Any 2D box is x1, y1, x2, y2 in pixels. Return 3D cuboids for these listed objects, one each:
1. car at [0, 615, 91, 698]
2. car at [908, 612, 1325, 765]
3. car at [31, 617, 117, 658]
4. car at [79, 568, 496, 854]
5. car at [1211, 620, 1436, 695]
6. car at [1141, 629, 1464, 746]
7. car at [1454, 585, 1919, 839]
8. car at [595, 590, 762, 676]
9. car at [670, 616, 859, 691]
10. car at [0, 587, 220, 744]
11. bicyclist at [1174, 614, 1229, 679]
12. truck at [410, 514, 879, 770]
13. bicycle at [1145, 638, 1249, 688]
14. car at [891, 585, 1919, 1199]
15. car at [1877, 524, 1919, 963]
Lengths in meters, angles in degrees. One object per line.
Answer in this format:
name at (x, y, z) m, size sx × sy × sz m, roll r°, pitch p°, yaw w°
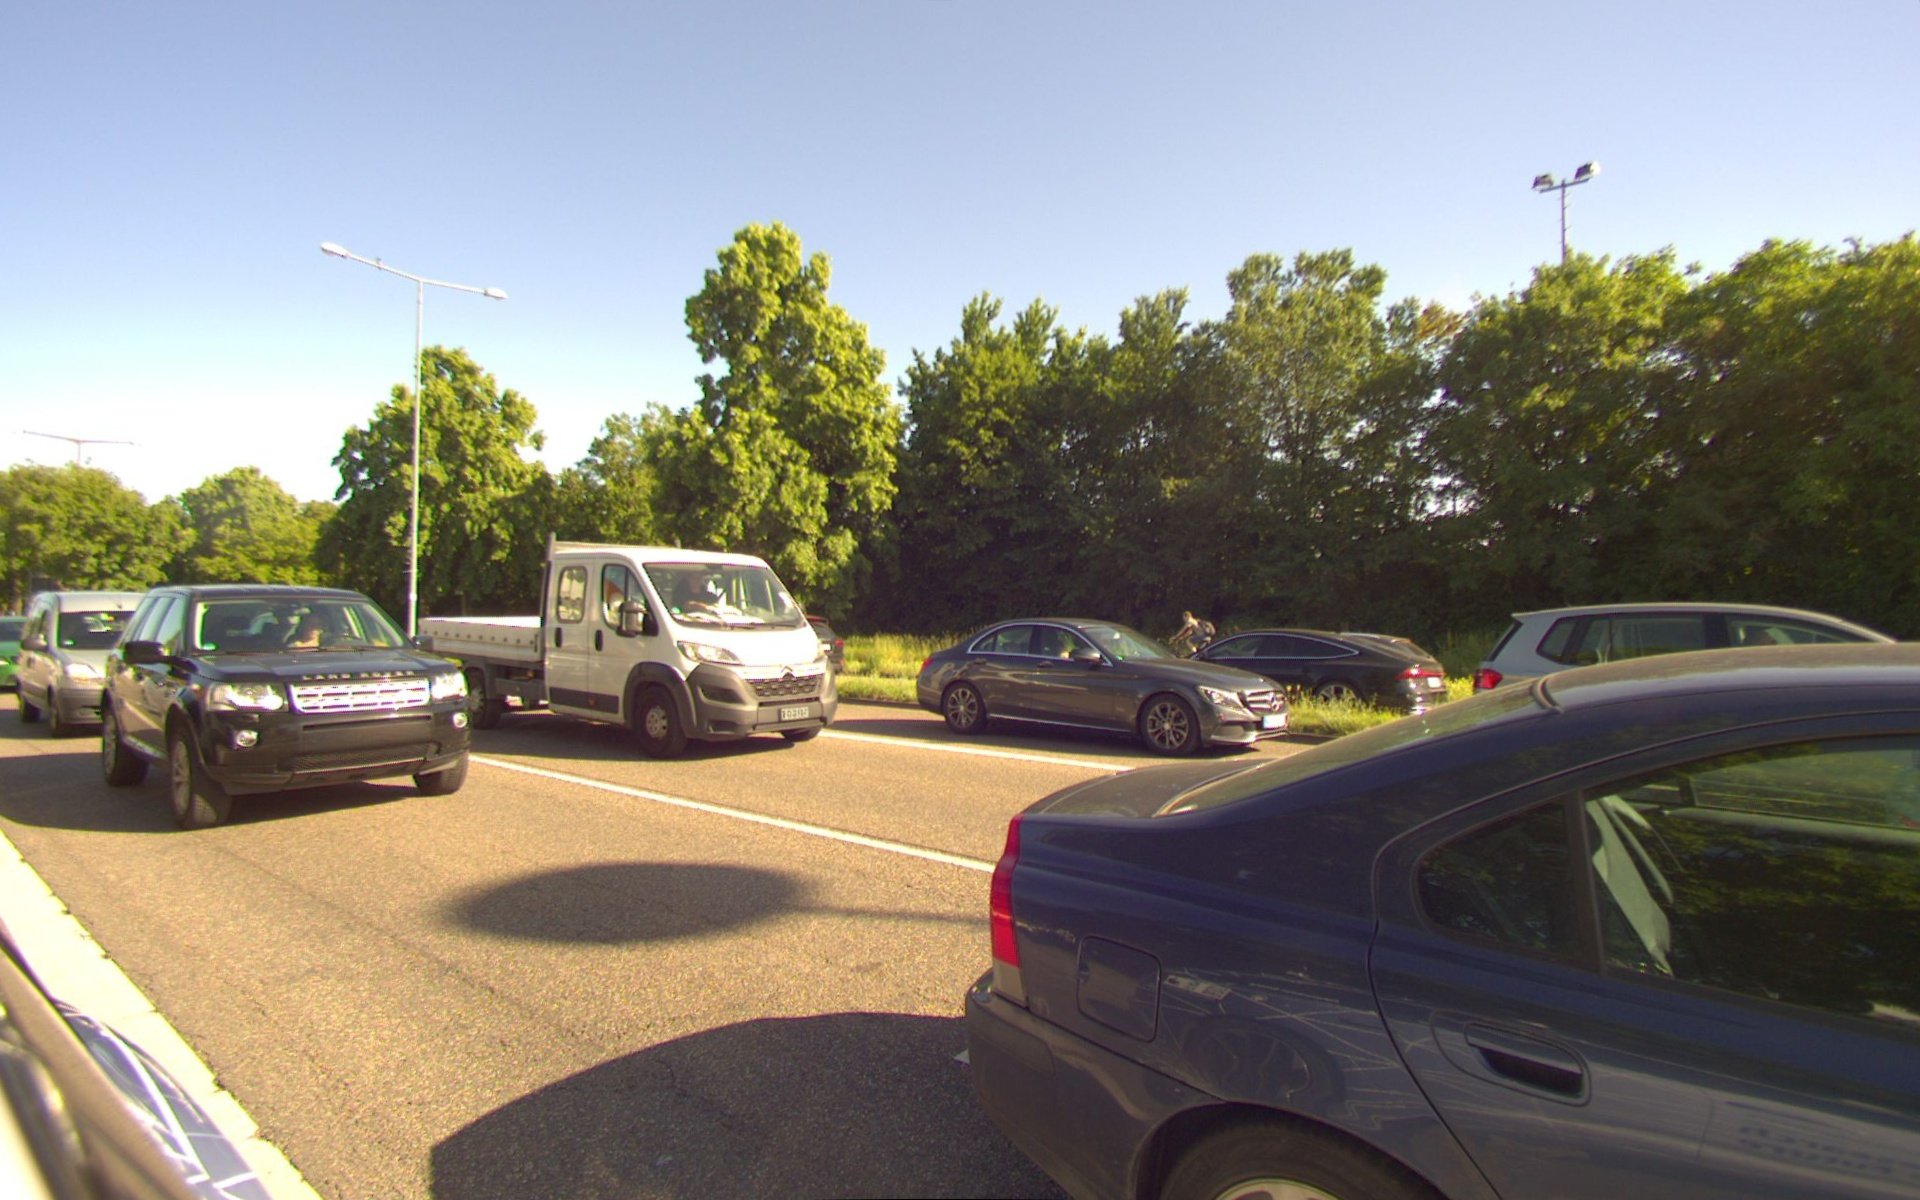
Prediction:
car at (-18.505, 1.060, 19.852) m, size 3.929 × 1.486 × 1.609 m, roll -1°, pitch -3°, yaw 41°
car at (1.656, 0.899, 11.778) m, size 4.550 × 1.440 × 1.811 m, roll -1°, pitch -3°, yaw 41°
car at (-33.529, 1.399, 38.261) m, size 3.994 × 1.456 × 1.706 m, roll -1°, pitch -2°, yaw 38°
car at (-5.682, 0.689, 8.312) m, size 4.384 × 1.744 × 1.793 m, roll 0°, pitch 0°, yaw 41°
car at (6.560, 0.999, 18.490) m, size 3.634 × 1.244 × 1.375 m, roll -1°, pitch -3°, yaw 41°
car at (4.910, 1.172, 14.860) m, size 4.163 × 1.474 × 1.757 m, roll -1°, pitch -3°, yaw 41°
car at (6.245, 0.754, 7.626) m, size 4.206 × 1.623 × 1.810 m, roll -1°, pitch -3°, yaw 42°
car at (-9.038, 1.030, 32.190) m, size 5.999 × 2.511 × 2.079 m, roll -1°, pitch -2°, yaw 40°
car at (-4.670, 1.206, 23.862) m, size 4.613 × 1.614 × 1.972 m, roll -1°, pitch -3°, yaw 41°
car at (-11.391, 0.750, 13.449) m, size 4.384 × 1.764 × 1.611 m, roll 0°, pitch 0°, yaw 41°
bicyclist at (6.356, 1.203, 26.633) m, size 1.197 × 1.661 × 0.867 m, roll -1°, pitch -3°, yaw 36°
truck at (-4.156, 0.398, 12.298) m, size 6.838 × 2.337 × 2.158 m, roll 0°, pitch 0°, yaw 41°
bicycle at (6.234, 1.640, 26.708) m, size 2.531 × 1.221 × 0.867 m, roll -1°, pitch -3°, yaw 37°
car at (2.099, 0.703, 1.350) m, size 4.454 × 1.462 × 1.757 m, roll 0°, pitch 0°, yaw 41°
car at (6.039, 0.559, 3.310) m, size 4.423 × 1.723 × 1.972 m, roll -1°, pitch -3°, yaw 41°
